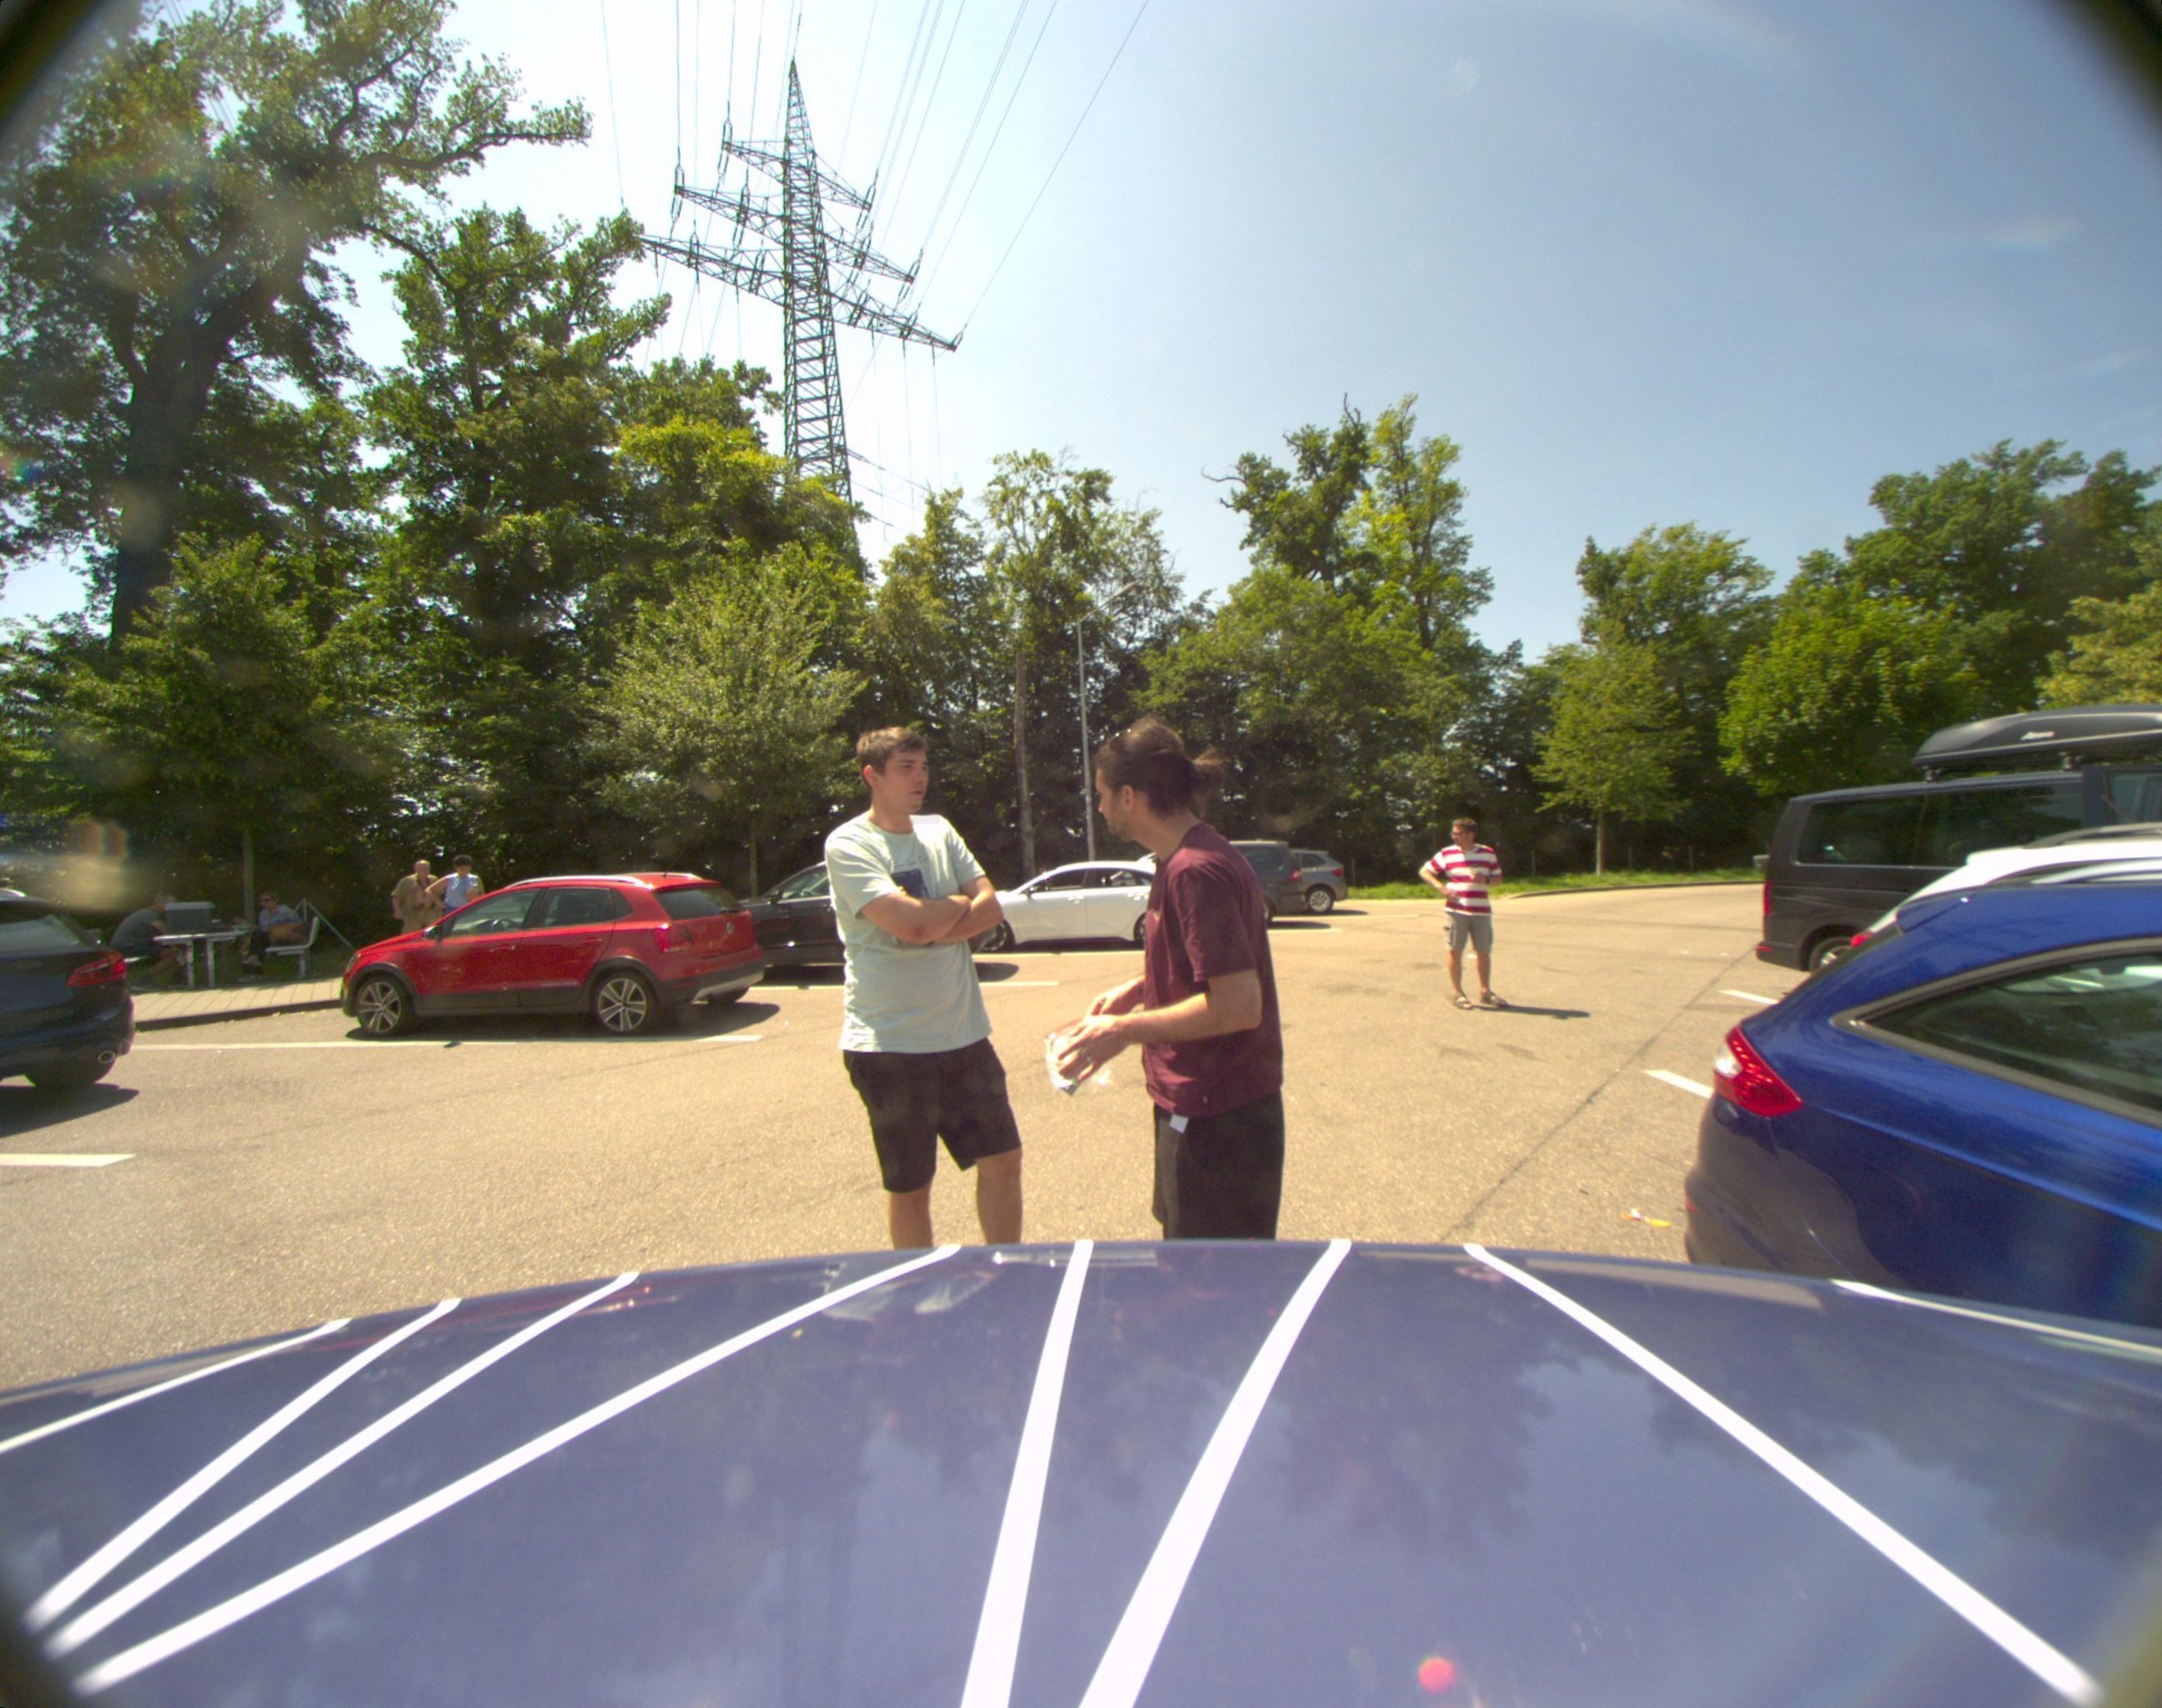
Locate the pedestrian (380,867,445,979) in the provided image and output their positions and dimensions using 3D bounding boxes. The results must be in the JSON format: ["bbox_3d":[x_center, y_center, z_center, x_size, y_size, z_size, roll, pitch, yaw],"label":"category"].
[{"bbox_3d":[-10.020,1.004,11.401,0.648,1.596,0.571,-3,2,-42],"label":"pedestrian"}]

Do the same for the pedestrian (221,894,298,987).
[{"bbox_3d":[-11.852,1.225,10.977,0.595,1.238,0.499,-3,1,-33],"label":"pedestrian"}]

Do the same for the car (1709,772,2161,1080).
[{"bbox_3d":[7.384,0.412,5.273,1.758,1.886,4.571,-3,-1,-9],"label":"car"}]

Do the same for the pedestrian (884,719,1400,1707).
[{"bbox_3d":[0.191,0.724,1.859,0.918,1.894,0.815,-1,1,32],"label":"pedestrian"}]

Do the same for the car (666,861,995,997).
[{"bbox_3d":[-3.240,0.958,10.289,3.825,1.546,1.651,-2,1,4],"label":"car"}]

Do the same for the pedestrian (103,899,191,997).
[{"bbox_3d":[-12.718,1.266,10.363,0.595,1.238,0.446,-3,1,-33],"label":"pedestrian"}]

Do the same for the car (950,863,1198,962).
[{"bbox_3d":[-0.065,0.929,12.664,3.825,1.394,1.651,-2,1,4],"label":"car"}]

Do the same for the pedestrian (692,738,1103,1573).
[{"bbox_3d":[-0.435,0.712,2.265,0.813,1.939,0.921,-2,1,9],"label":"pedestrian"}]

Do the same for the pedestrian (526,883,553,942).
[{"bbox_3d":[-10.998,1.183,15.430,0.357,1.158,0.384,-3,2,-41],"label":"pedestrian"}]

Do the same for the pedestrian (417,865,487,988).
[{"bbox_3d":[-8.613,0.962,10.400,0.648,1.596,0.571,-3,2,-42],"label":"pedestrian"}]

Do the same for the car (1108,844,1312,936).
[{"bbox_3d":[2.617,0.707,15.446,3.822,1.686,1.652,-2,1,12],"label":"car"}]

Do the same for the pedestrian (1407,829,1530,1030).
[{"bbox_3d":[3.550,0.660,7.022,0.754,1.744,0.785,-2,1,8],"label":"pedestrian"}]

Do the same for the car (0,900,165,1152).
[{"bbox_3d":[-9.022,1.168,4.995,4.338,1.544,1.749,-1,1,8],"label":"car"}]

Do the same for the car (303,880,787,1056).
[{"bbox_3d":[-5.222,1.086,7.660,3.823,1.460,1.651,-2,1,8],"label":"car"}]

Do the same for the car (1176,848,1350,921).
[{"bbox_3d":[4.276,0.703,18.141,3.822,1.551,1.652,-2,1,12],"label":"car"}]

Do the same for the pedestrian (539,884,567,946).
[{"bbox_3d":[-10.154,1.159,14.614,0.357,1.158,0.384,-3,2,-41],"label":"pedestrian"}]

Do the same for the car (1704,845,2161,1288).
[{"bbox_3d":[4.655,0.726,2.241,1.757,1.496,4.574,-3,-1,-1],"label":"car"}]
